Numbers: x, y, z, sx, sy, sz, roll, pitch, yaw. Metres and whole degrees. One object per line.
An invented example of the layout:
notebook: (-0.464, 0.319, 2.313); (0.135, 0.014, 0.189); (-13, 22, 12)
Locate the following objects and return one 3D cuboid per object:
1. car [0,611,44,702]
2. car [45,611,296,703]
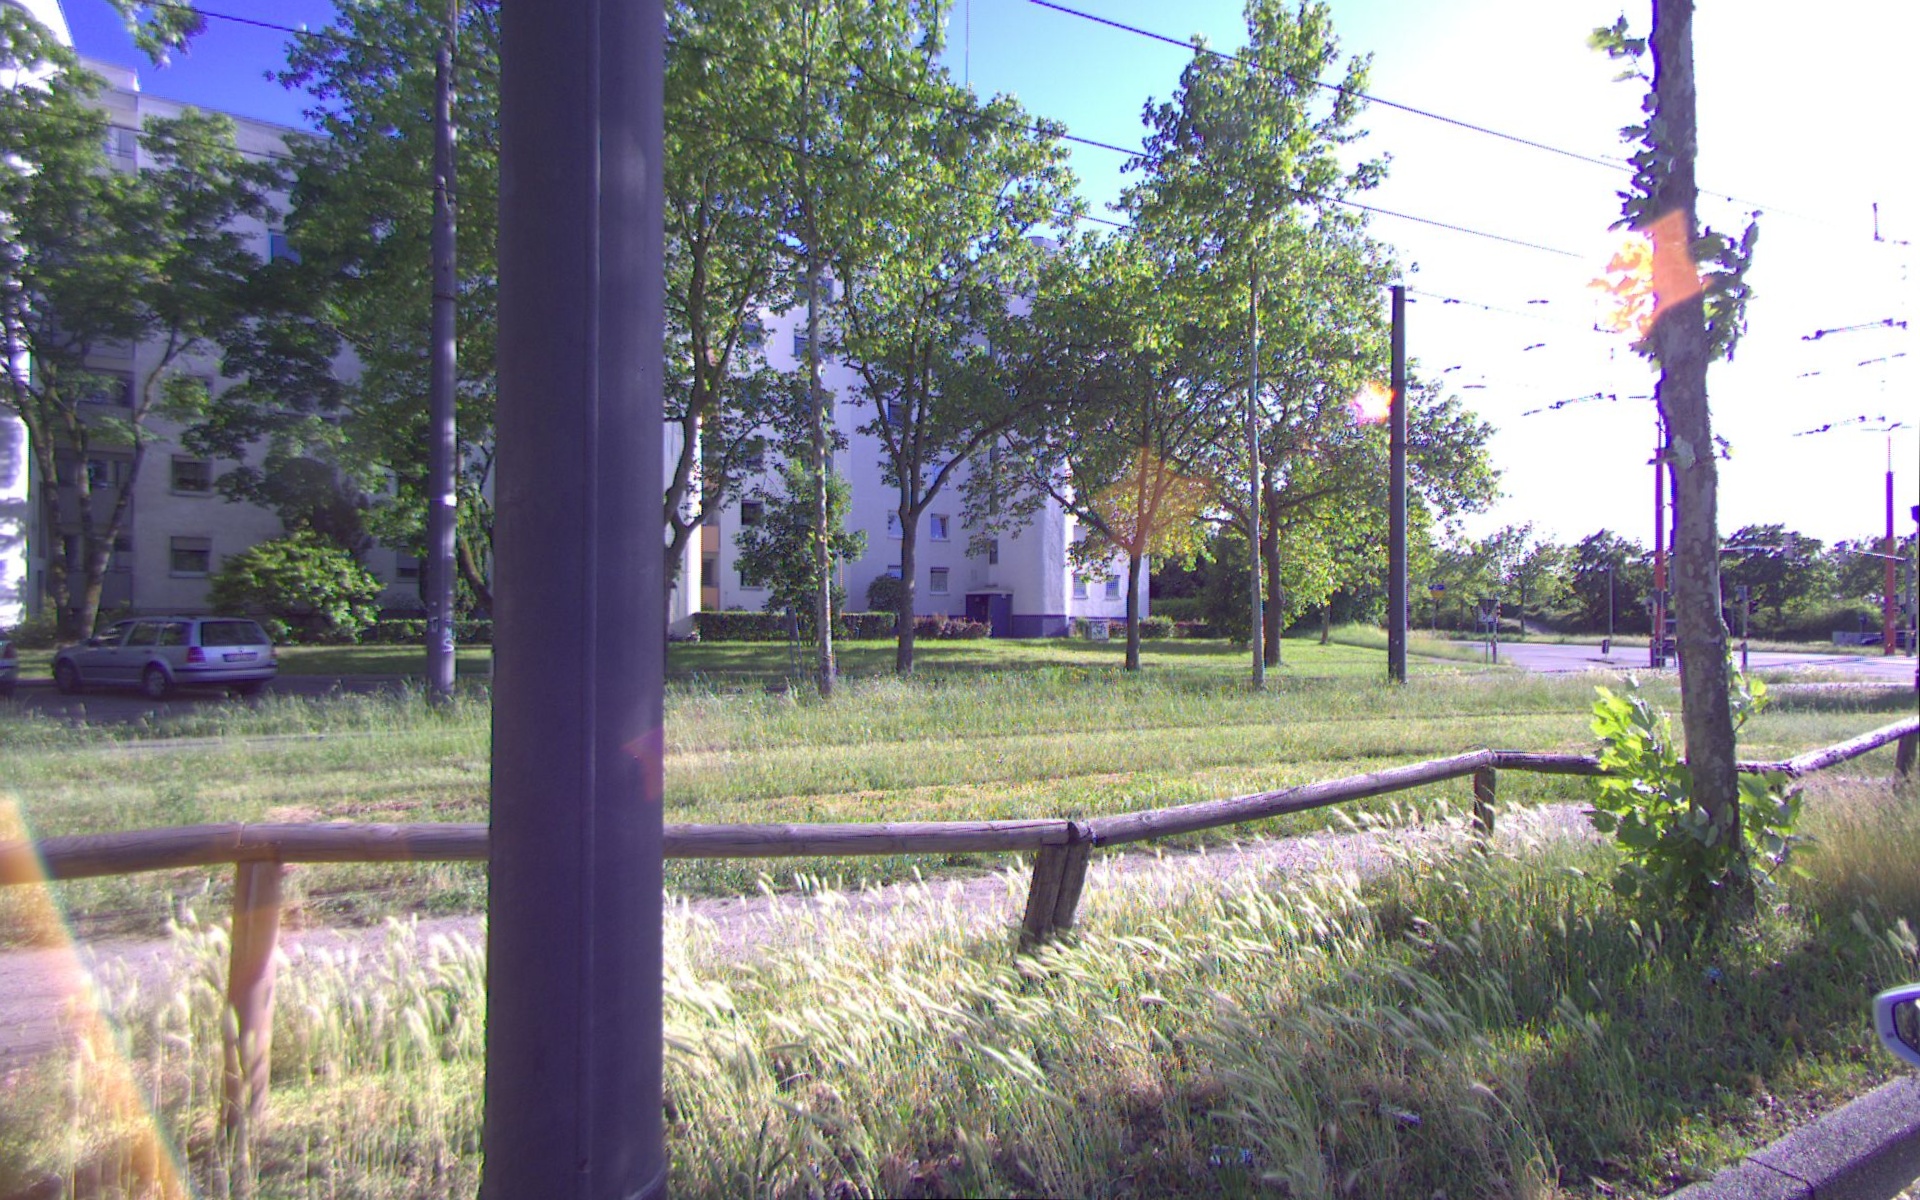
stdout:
car: (-18.046, 0.937, 17.248); (3.969, 1.506, 1.764); (0, 0, 20)
car: (-14.564, 0.992, 18.562); (3.969, 1.506, 1.815); (0, 0, 20)
